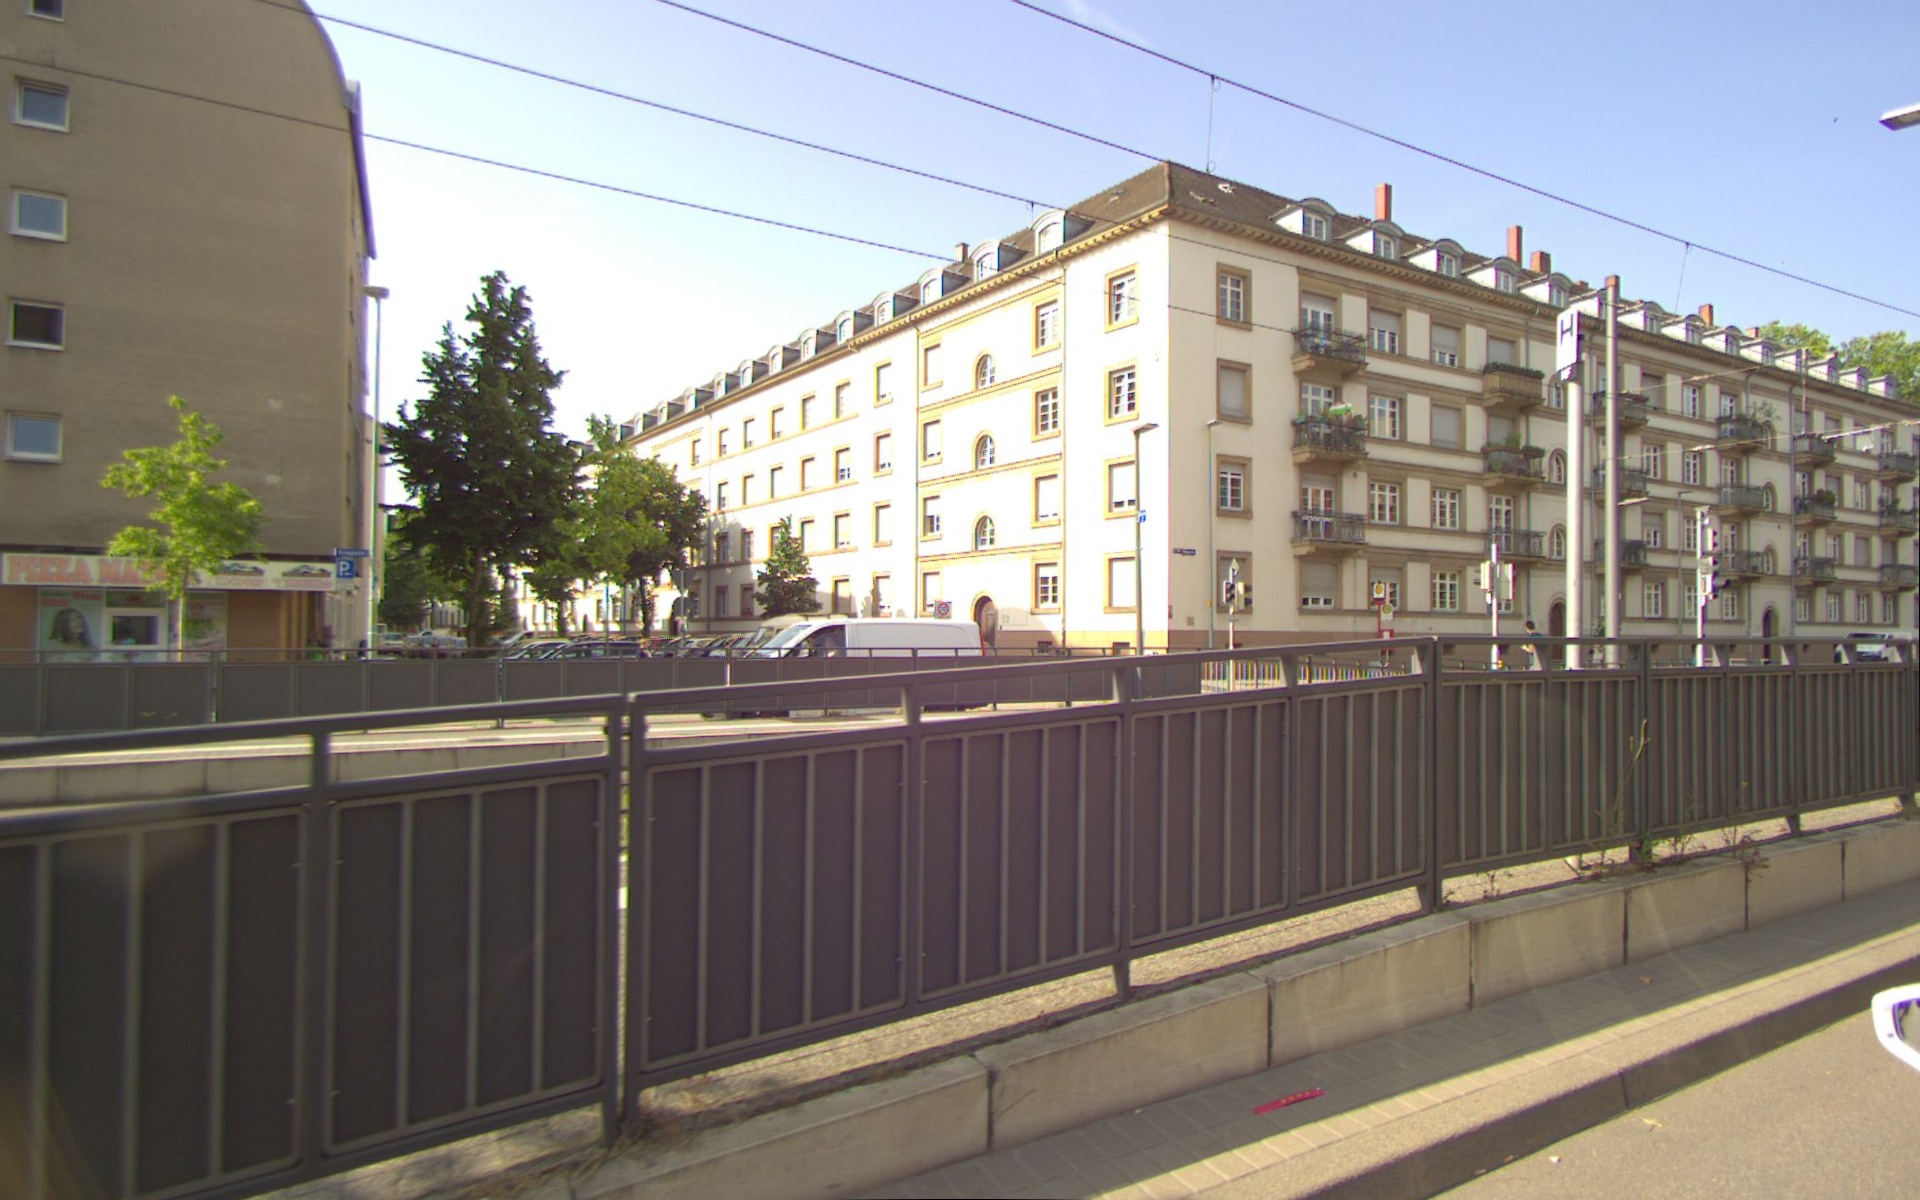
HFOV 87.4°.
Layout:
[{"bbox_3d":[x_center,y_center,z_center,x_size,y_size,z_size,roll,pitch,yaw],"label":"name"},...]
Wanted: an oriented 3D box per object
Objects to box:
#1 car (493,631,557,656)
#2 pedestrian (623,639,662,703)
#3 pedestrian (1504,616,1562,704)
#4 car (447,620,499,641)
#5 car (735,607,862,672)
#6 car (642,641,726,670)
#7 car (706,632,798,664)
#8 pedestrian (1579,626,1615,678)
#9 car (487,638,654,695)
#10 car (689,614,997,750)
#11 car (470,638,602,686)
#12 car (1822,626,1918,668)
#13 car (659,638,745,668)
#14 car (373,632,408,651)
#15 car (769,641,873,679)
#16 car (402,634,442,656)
[{"bbox_3d":[-32.167,3.231,74.345,3.964,1.817,1.979,2,-2,-38],"label":"car"},{"bbox_3d":[-8.178,1.820,25.839,0.799,1.604,0.674,1,-2,-32],"label":"pedestrian"},{"bbox_3d":[12.719,1.311,22.284,1.053,1.892,0.862,-1,-2,34],"label":"pedestrian"},{"bbox_3d":[-44.616,2.786,92.080,4.029,1.873,1.954,2,-2,-38],"label":"car"},{"bbox_3d":[-6.808,1.662,42.731,5.006,2.617,1.980,1,-2,-37],"label":"car"},{"bbox_3d":[-14.273,2.834,52.014,3.856,1.434,1.662,1,-2,-35],"label":"car"},{"bbox_3d":[-9.585,2.194,46.349,3.856,1.434,1.662,1,-2,-35],"label":"car"},{"bbox_3d":[26.470,2.138,41.744,1.142,2.096,0.839,1,-1,-28],"label":"pedestrian"},{"bbox_3d":[-11.849,1.973,30.680,4.508,1.620,1.753,1,-2,-34],"label":"car"},{"bbox_3d":[-1.944,1.308,17.172,4.874,2.040,1.984,1,-2,-31],"label":"car"},{"bbox_3d":[-14.638,2.097,34.708,3.955,1.528,1.983,1,-2,-32],"label":"car"},{"bbox_3d":[45.201,2.324,49.882,5.090,1.943,1.985,1,0,-29],"label":"car"},{"bbox_3d":[-12.914,2.646,50.271,3.856,1.434,1.662,1,-2,-35],"label":"car"},{"bbox_3d":[-41.618,3.023,73.320,1.811,1.394,3.960,1,-2,-36],"label":"car"},{"bbox_3d":[-5.619,2.401,40.804,3.886,1.434,1.662,1,-2,-35],"label":"car"},{"bbox_3d":[-35.210,2.914,65.723,1.811,1.394,3.960,1,-2,-36],"label":"car"}]
